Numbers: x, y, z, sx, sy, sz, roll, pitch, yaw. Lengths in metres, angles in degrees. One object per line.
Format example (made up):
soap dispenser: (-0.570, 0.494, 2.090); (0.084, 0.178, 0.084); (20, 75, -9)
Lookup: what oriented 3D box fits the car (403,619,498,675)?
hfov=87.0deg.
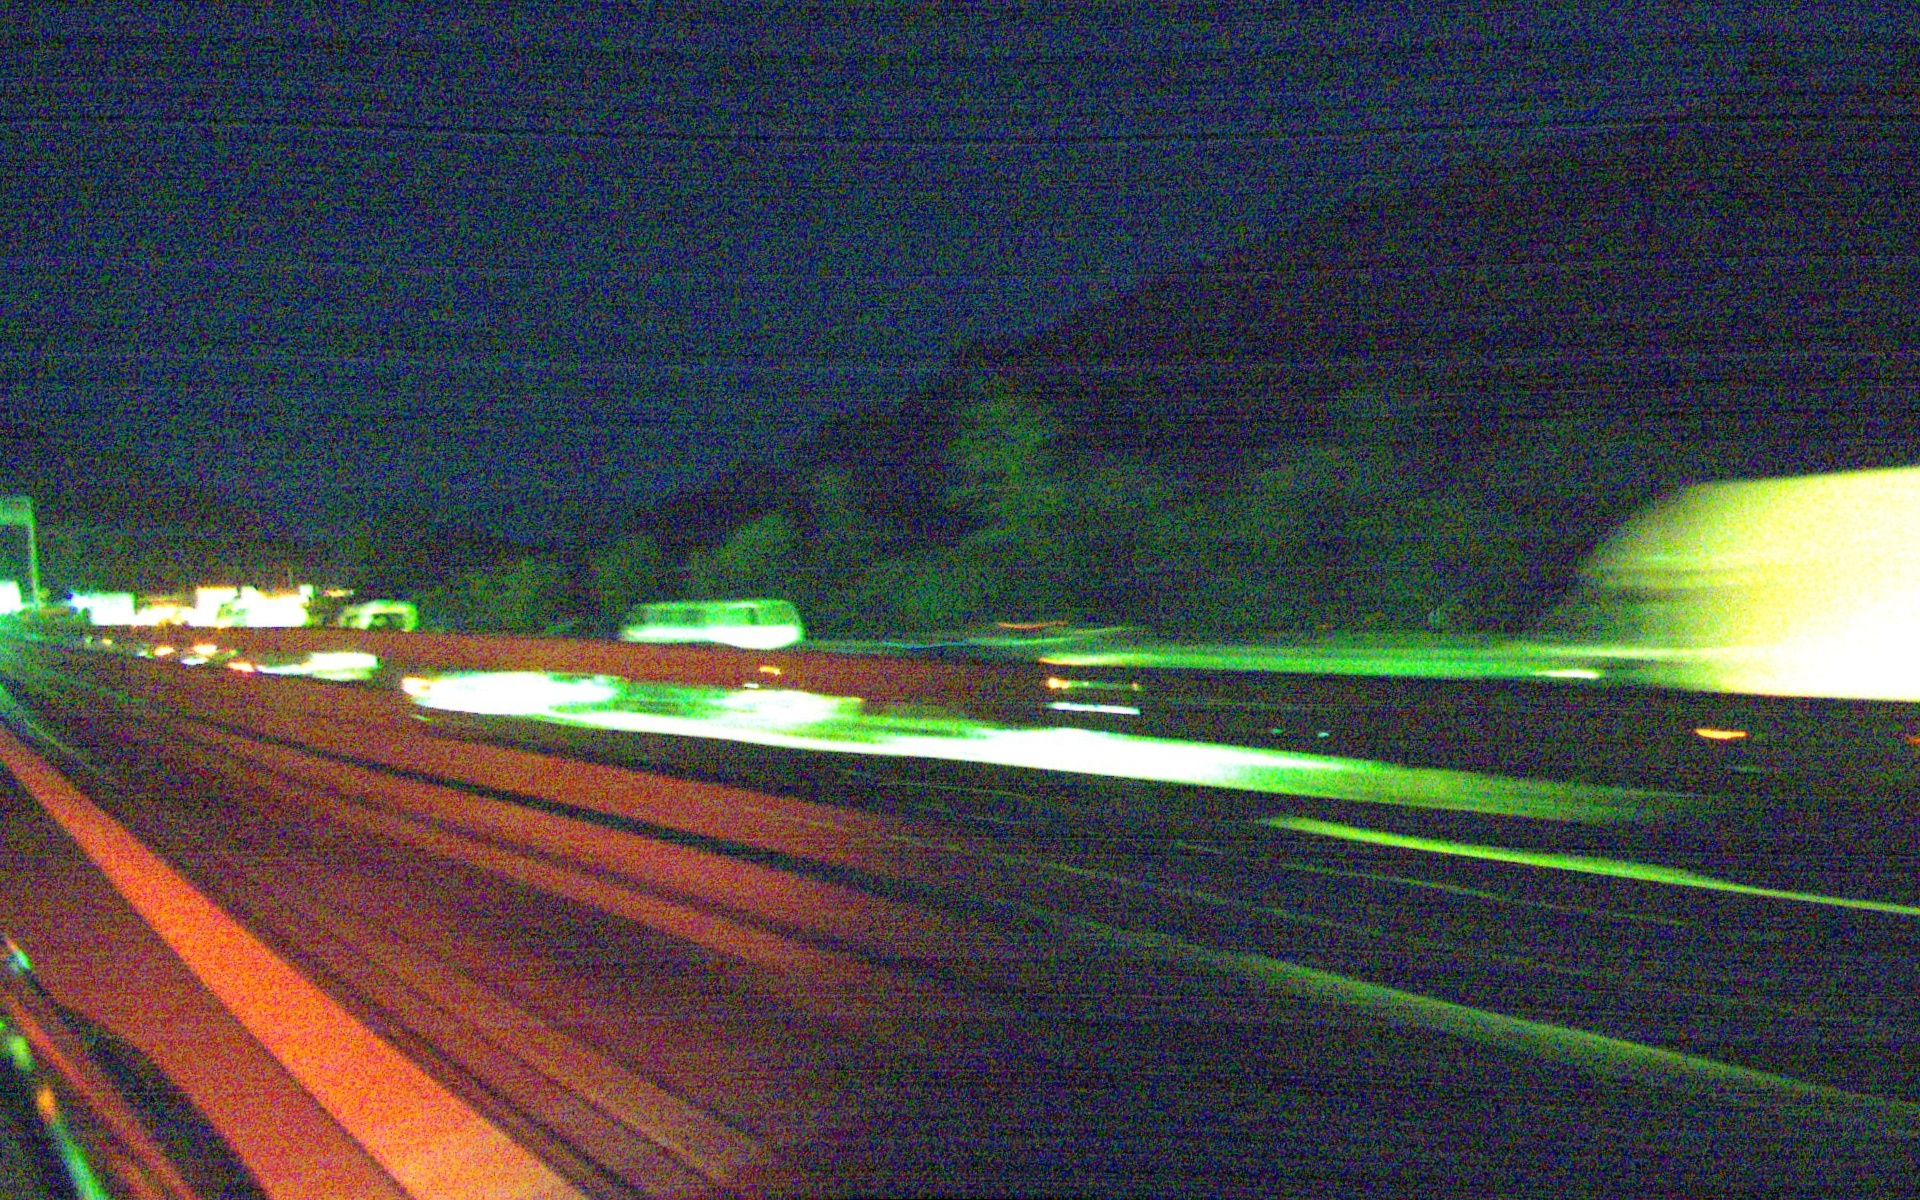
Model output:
car: (-19.575, 1.748, 38.819); (4.565, 1.937, 1.819); (0, -1, 44)

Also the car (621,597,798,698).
car: (-6.322, 1.133, 25.266); (4.562, 2.285, 2.108); (-2, -2, 42)

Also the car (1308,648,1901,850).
car: (5.485, 1.138, 9.072); (4.218, 1.346, 1.517); (-2, -2, 41)

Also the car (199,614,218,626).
car: (-90.414, 2.391, 121.758); (1.580, 1.453, 4.007); (0, 0, -40)

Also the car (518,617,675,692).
car: (-10.492, 1.481, 29.034); (4.982, 1.974, 1.974); (-1, -2, 39)

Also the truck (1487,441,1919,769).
truck: (10.307, 0.071, 11.110); (7.714, 3.285, 2.352); (-1, -2, 39)

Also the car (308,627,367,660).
car: (-33.610, 2.288, 54.596); (1.812, 1.621, 4.509); (0, 0, -44)

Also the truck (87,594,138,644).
truck: (-65.428, 1.404, 78.080); (2.623, 3.618, 8.560); (-2, 1, -42)

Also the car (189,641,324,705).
car: (-17.273, 1.724, 24.766); (4.634, 1.365, 1.735); (-2, -2, 42)

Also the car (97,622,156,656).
car: (-39.122, 1.778, 47.454); (1.812, 1.462, 4.509); (0, 0, -44)

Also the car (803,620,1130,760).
car: (-0.025, 1.161, 14.421); (4.451, 1.673, 1.973); (-2, -2, 41)

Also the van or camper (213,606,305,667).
van or camper: (-31.926, 1.610, 45.989); (6.689, 2.614, 2.229); (-1, -2, 45)

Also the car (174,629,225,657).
car: (-43.989, 2.438, 58.497); (1.812, 1.462, 4.509); (0, 0, -44)

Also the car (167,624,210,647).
car: (-51.830, 2.350, 67.952); (1.812, 1.462, 4.509); (0, 0, -44)

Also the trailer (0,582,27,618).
trailer: (-110.886, 0.041, 116.378); (2.795, 4.004, 15.805); (-2, 1, -34)

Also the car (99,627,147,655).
car: (-48.072, 2.333, 58.082); (1.798, 1.462, 4.509); (0, 0, -44)

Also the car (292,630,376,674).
car: (-23.066, 1.869, 37.240); (3.842, 1.464, 1.729); (0, -1, 44)

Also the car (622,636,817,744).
car: (-4.619, 1.590, 19.145); (4.002, 1.757, 1.718); (-1, -2, 44)

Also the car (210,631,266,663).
car: (-38.148, 2.450, 53.446); (1.798, 1.526, 4.509); (0, 0, -44)

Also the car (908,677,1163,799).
car: (1.297, 2.390, 18.462); (4.388, 1.713, 1.843); (-1, -2, 39)

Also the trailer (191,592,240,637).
trailer: (-73.814, 1.379, 100.239); (3.391, 4.273, 12.857); (1, -1, -38)

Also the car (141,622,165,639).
car: (-73.588, 2.742, 92.262); (1.580, 1.453, 4.007); (0, 0, -40)

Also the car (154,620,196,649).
car: (-59.387, 2.583, 76.513); (4.001, 2.029, 1.971); (-1, 0, 44)

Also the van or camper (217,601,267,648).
van or camper: (-53.994, 1.806, 76.019); (2.242, 3.405, 5.699); (0, -1, -44)

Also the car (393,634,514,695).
car: (-14.031, 1.720, 27.939); (4.073, 1.490, 1.589); (-1, -2, 42)

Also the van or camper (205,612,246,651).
van or camper: (-58.787, 2.449, 80.951); (1.812, 2.994, 6.405); (0, -1, -44)

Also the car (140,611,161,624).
car: (-111.748, 2.385, 139.758); (2.111, 1.719, 5.124); (0, 0, -37)

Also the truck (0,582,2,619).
truck: (-106.264, 0.101, 109.672); (2.854, 4.002, 4.011); (-2, 1, -34)

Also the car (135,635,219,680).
car: (-29.755, 2.128, 38.394); (4.714, 1.557, 1.735); (-2, -2, 42)

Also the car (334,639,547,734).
car: (-8.843, 1.362, 17.087); (4.289, 1.365, 1.736); (-2, -2, 41)

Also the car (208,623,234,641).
car: (-65.124, 2.773, 89.127); (1.580, 1.453, 4.007); (0, 0, -40)

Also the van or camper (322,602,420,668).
van or camper: (-26.689, 1.474, 45.707); (2.416, 2.782, 6.495); (0, -1, -43)
